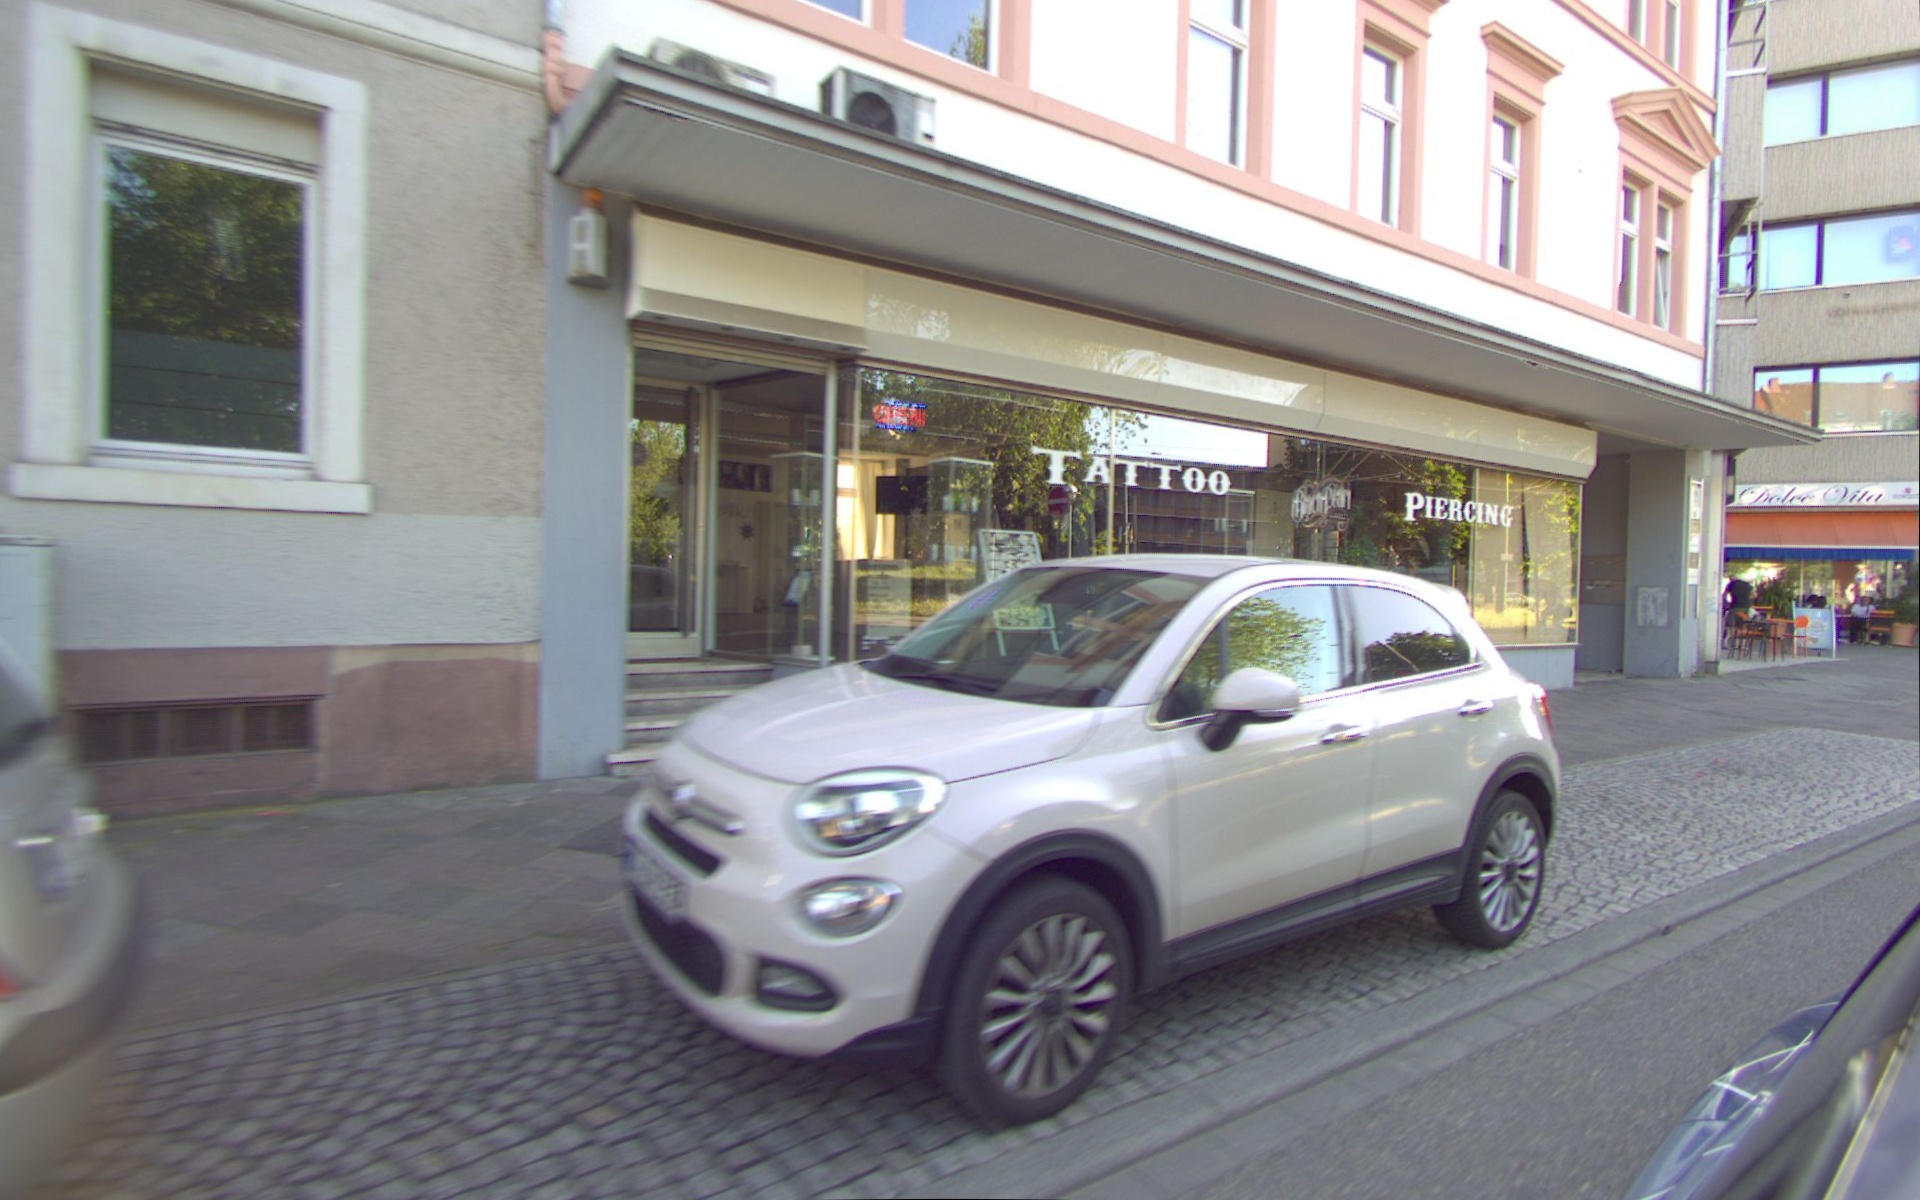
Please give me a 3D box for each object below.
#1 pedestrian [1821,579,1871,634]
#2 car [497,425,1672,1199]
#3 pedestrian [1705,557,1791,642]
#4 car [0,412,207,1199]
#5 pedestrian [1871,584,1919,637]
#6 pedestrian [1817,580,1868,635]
[{"bbox_3d":[23.585,0.156,26.947,0.837,1.420,0.822,1,0,31],"label":"pedestrian"},{"bbox_3d":[0.896,0.480,4.162,4.866,1.760,1.751,-1,1,-35],"label":"car"},{"bbox_3d":[16.967,-0.024,21.806,1.112,1.764,1.024,-1,0,-21],"label":"pedestrian"},{"bbox_3d":[-3.316,0.536,1.271,3.684,1.624,1.706,-1,2,-34],"label":"car"},{"bbox_3d":[24.336,0.255,26.343,0.842,1.307,0.818,4,4,44],"label":"pedestrian"},{"bbox_3d":[22.943,0.188,26.324,0.835,1.420,0.746,0,-1,26],"label":"pedestrian"}]
